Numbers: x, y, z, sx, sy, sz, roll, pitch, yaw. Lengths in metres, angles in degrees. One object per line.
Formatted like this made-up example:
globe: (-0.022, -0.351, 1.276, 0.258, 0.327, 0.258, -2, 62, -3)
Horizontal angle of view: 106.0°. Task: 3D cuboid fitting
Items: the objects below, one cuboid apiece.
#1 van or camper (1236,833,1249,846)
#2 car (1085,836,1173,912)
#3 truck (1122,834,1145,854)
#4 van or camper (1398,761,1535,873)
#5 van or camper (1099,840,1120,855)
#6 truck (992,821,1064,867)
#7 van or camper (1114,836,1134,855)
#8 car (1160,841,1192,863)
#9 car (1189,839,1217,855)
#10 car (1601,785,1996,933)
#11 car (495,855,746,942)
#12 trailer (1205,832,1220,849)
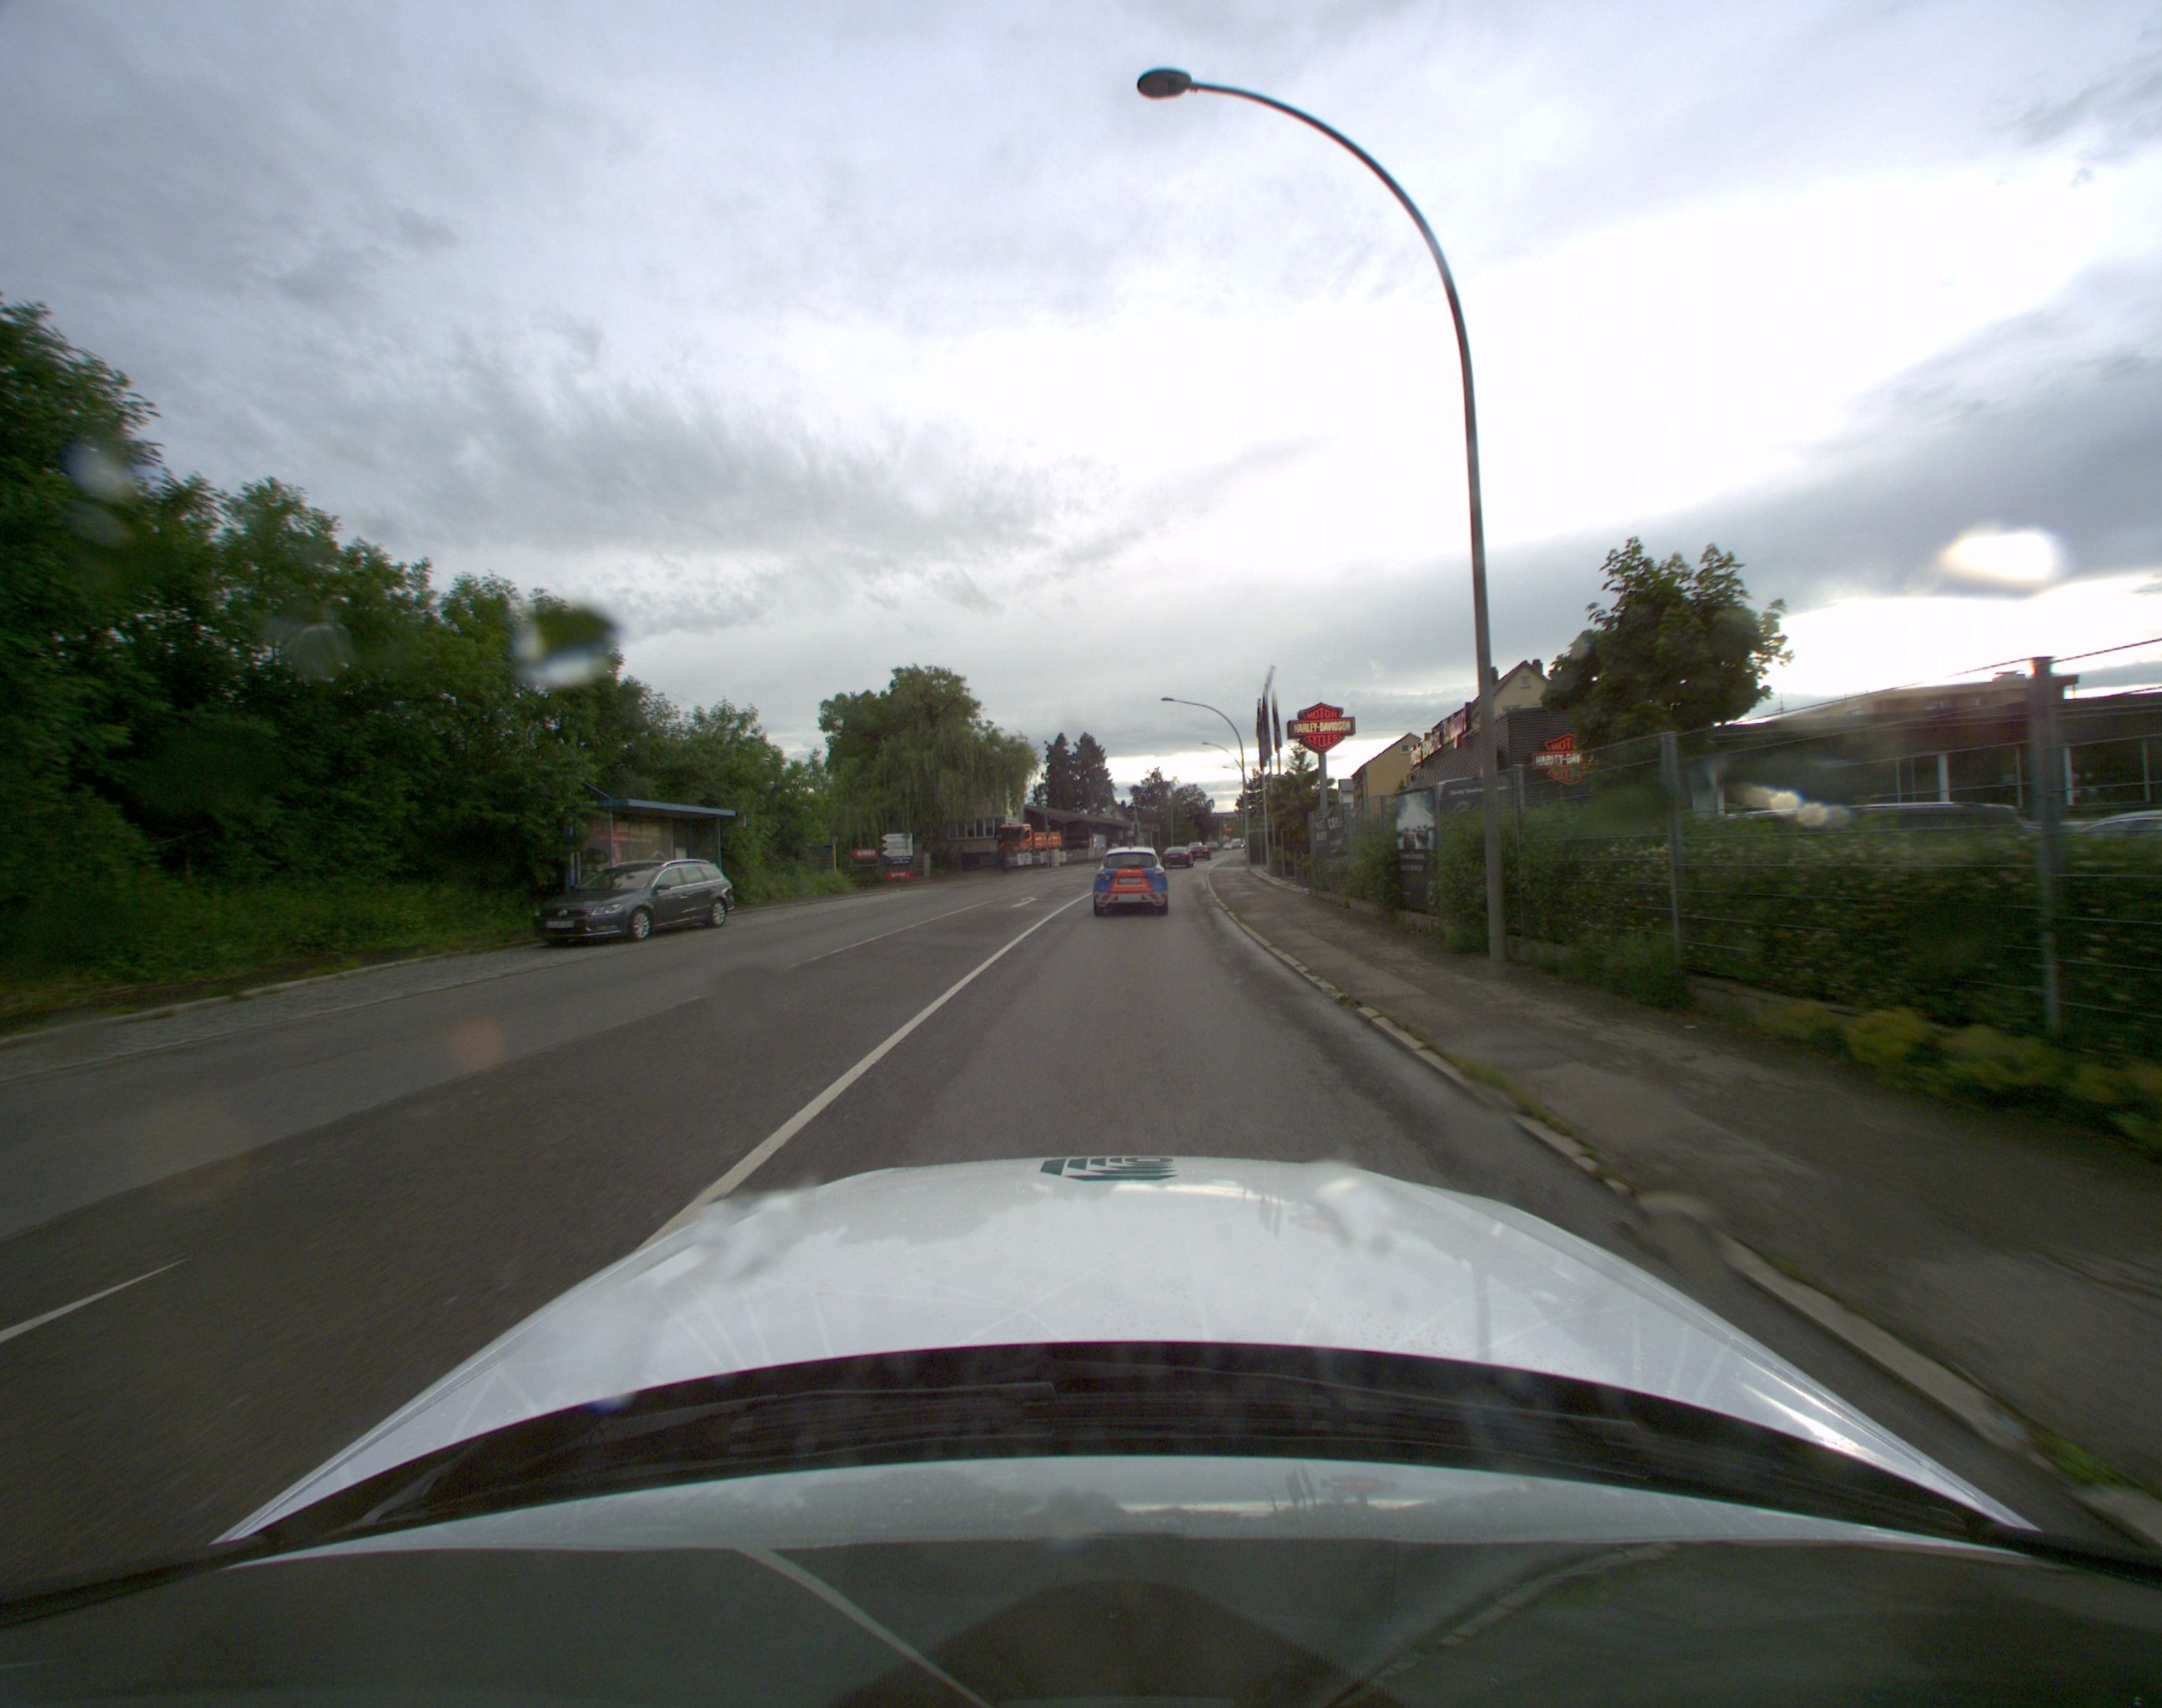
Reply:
van or camper: (24.472, -2.264, 123.241, 1.742, 1.883, 4.015, -2, 1, 13)
car: (1.269, 0.419, 20.067, 1.879, 1.631, 4.007, -2, 1, 6)
truck: (7.697, -1.417, 118.779, 2.377, 2.927, 5.980, 0, 0, 15)
van or camper: (10.520, -0.947, 22.847, 2.027, 2.593, 6.614, -3, 0, 13)
van or camper: (3.729, -0.839, 106.723, 1.980, 1.909, 4.487, 0, 0, 13)
truck: (-4.126, -0.714, 65.868, 2.676, 3.412, 9.112, 0, -1, 17)
van or camper: (6.023, -1.200, 113.276, 1.846, 2.437, 5.252, 1, -1, 13)
car: (6.182, -0.102, 53.437, 1.714, 1.376, 3.934, 0, -1, 1)
car: (11.400, -0.613, 76.082, 1.978, 1.420, 4.018, 0, -1, 18)
car: (10.073, 0.106, 11.936, 4.063, 1.838, 1.785, -2, 1, 33)
car: (-8.848, 0.805, 16.263, 1.984, 1.474, 4.707, 0, -1, 5)
trailer: (24.633, -2.557, 152.739, 2.206, 2.011, 4.456, -16, 8, 13)
